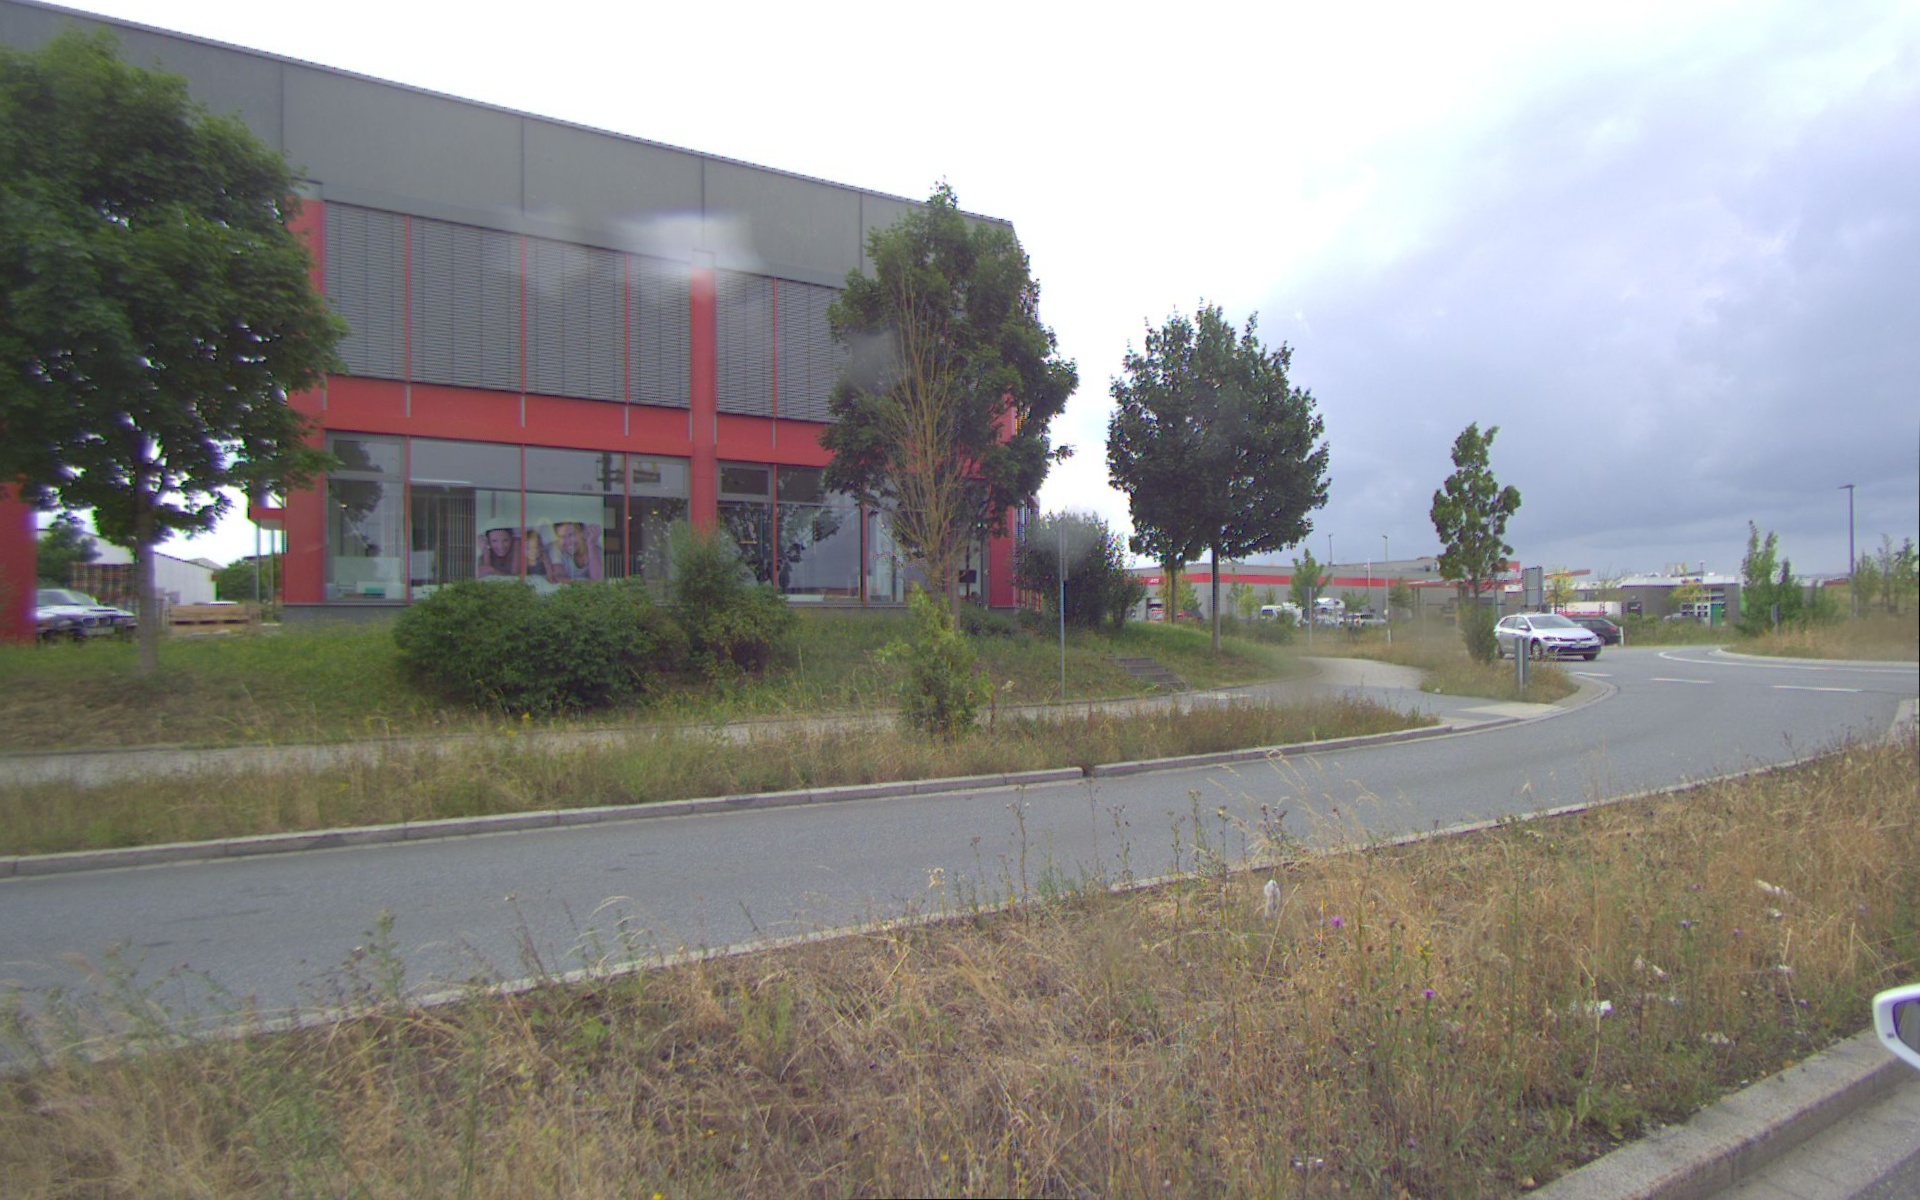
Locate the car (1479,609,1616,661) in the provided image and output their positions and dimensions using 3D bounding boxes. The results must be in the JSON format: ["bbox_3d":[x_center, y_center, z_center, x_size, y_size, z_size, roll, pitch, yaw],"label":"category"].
[{"bbox_3d":[18.429,1.121,31.753,1.778,1.483,3.999,-2,-2,-3],"label":"car"}]

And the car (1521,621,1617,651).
[{"bbox_3d":[28.339,1.673,46.793,3.783,1.342,1.466,-1,-2,34],"label":"car"}]

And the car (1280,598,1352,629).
[{"bbox_3d":[35.309,1.317,99.531,7.605,2.857,2.449,2,0,-32],"label":"car"}]

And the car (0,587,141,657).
[{"bbox_3d":[-17.566,0.414,19.130,2.826,1.287,1.253,2,0,-29],"label":"car"}]
